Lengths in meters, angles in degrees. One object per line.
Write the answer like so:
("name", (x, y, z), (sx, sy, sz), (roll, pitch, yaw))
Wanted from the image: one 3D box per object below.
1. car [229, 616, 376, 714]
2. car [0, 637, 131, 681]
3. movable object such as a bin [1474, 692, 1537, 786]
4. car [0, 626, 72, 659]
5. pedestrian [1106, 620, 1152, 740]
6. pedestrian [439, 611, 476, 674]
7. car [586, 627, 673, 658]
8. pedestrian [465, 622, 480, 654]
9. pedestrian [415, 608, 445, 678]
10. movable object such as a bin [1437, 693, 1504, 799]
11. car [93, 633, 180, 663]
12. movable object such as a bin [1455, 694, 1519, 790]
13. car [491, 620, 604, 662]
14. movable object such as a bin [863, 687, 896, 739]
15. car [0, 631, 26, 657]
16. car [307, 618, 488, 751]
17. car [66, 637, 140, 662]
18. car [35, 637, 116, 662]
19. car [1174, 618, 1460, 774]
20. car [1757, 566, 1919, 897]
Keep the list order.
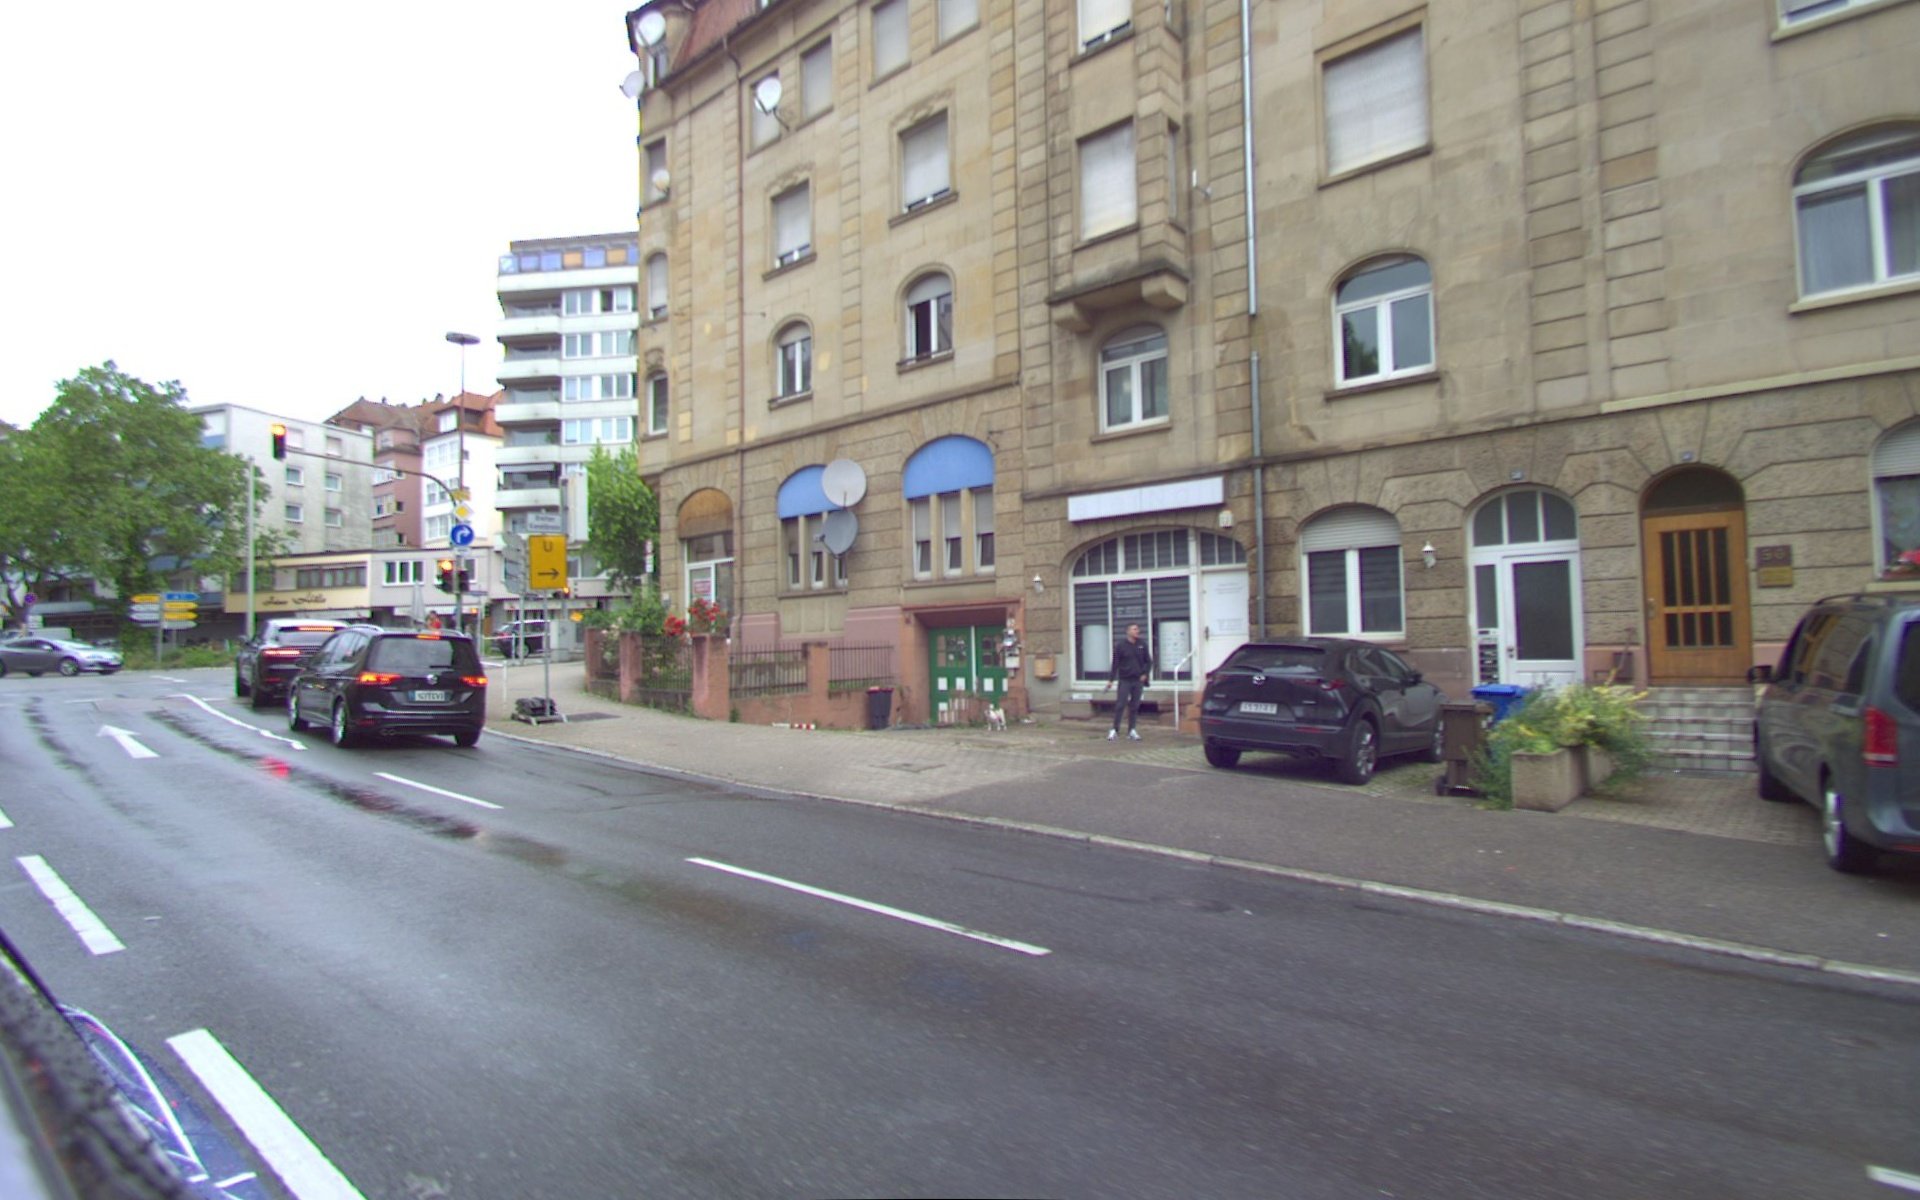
("car", (-13.598, 1.214, 20.785), (1.940, 1.706, 4.815), (0, 0, -40))
("car", (-32.789, 2.123, 36.587), (4.119, 1.494, 1.759), (-1, -1, -3))
("movable object such as a bin", (5.854, 1.476, 10.861), (0.499, 0.910, 0.441), (-1, -1, -44))
("car", (-61.576, 2.761, 66.317), (1.861, 1.992, 4.957), (-1, 0, 12))
("pedestrian", (2.613, 1.217, 15.659), (0.563, 1.790, 0.473), (0, 0, 32))
("pedestrian", (-13.901, 1.171, 28.006), (0.829, 1.715, 0.629), (-2, -1, 44))
("car", (-18.393, 2.328, 56.292), (4.317, 1.503, 1.920), (-2, -1, -27))
("pedestrian", (-26.467, 2.060, 54.957), (0.609, 1.706, 0.626), (0, -2, -14))
("pedestrian", (-13.770, 1.106, 26.292), (0.516, 1.787, 0.694), (-1, -1, -42))
("movable object such as a bin", (5.083, 1.439, 10.076), (0.499, 0.957, 0.441), (-1, -1, -44))
("car", (-51.760, 3.001, 63.702), (1.916, 1.655, 4.212), (-1, 0, 3))
("movable object such as a bin", (5.463, 1.456, 10.492), (0.499, 0.910, 0.441), (-1, -1, -44))
("car", (-17.199, 1.687, 42.247), (4.143, 1.546, 1.763), (-1, -1, -32))
("movable object such as a bin", (-1.596, 2.231, 20.069), (0.469, 0.957, 0.418), (0, -1, -44))
("car", (-66.038, 3.005, 68.520), (1.789, 1.702, 3.819), (0, -1, 14))
("car", (-8.415, 1.170, 14.947), (1.600, 1.662, 4.429), (5, -5, -38))
("car", (-54.592, 3.155, 64.540), (1.609, 1.426, 3.619), (-1, 0, 3))
("car", (-56.765, 3.161, 65.023), (1.790, 1.426, 3.697), (-1, 0, 7))
("car", (4.456, 1.007, 12.264), (1.872, 1.522, 4.104), (-2, -2, 41))
("car", (7.514, 0.729, 7.543), (1.857, 1.953, 4.640), (-2, 0, 31))
